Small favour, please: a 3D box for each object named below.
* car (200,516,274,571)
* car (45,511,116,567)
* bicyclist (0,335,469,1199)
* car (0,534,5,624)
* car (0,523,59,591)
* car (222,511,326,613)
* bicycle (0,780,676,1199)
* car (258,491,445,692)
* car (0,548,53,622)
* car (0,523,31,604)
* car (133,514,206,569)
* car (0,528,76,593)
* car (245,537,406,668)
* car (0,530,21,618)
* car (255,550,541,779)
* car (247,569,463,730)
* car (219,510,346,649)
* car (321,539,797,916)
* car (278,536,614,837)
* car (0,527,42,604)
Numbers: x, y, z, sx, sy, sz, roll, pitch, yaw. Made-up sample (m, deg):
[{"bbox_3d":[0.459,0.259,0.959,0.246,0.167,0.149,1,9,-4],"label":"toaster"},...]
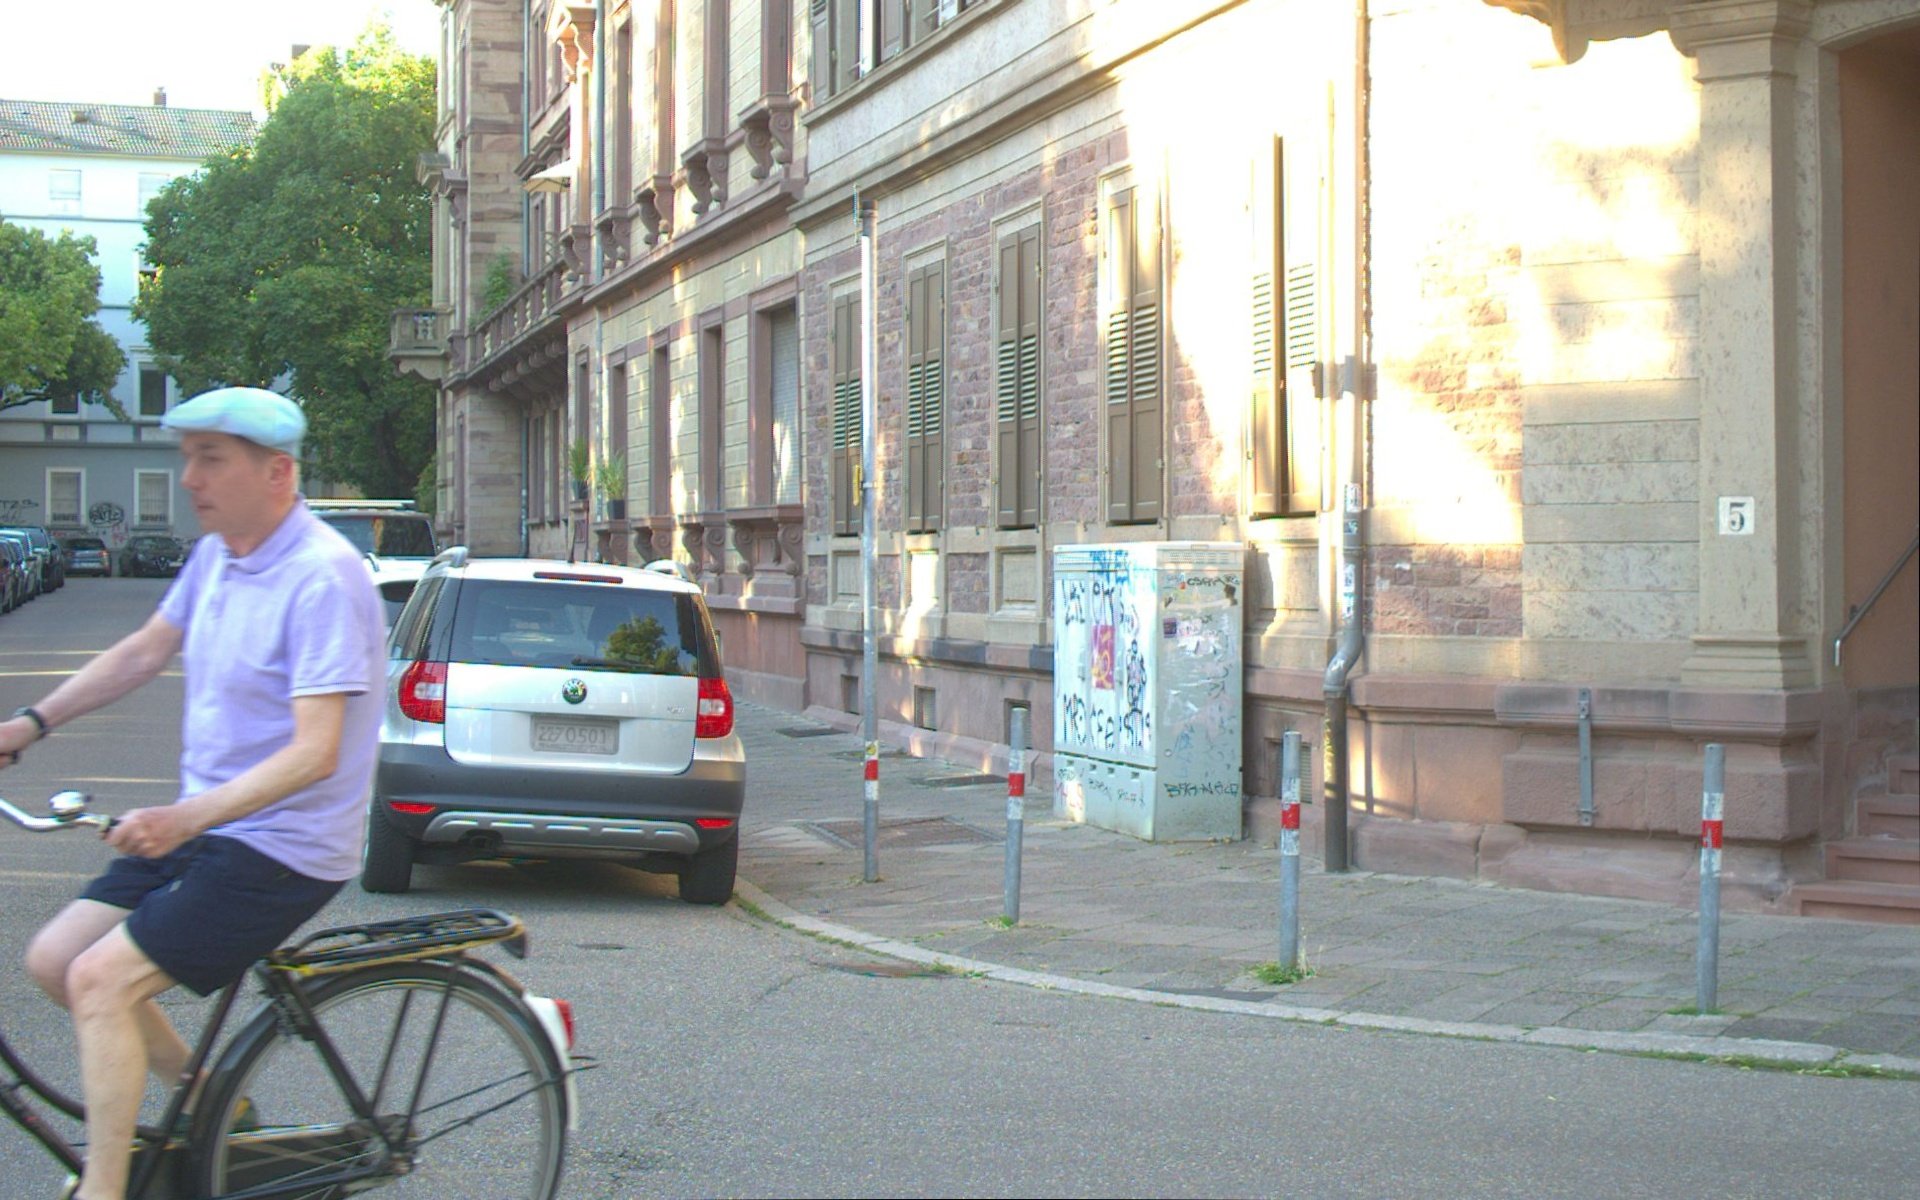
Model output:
[{"bbox_3d":[-24.357,-1.895,115.714,1.993,1.678,4.001,1,-1,-18],"label":"car"},{"bbox_3d":[-29.090,-2.010,113.668,1.993,1.678,4.001,1,-1,-18],"label":"car"},{"bbox_3d":[-1.380,0.367,5.912,0.871,1.583,0.701,0,1,-28],"label":"bicyclist"},{"bbox_3d":[-16.529,-0.370,55.534,1.825,1.495,3.932,3,0,-12],"label":"car"},{"bbox_3d":[-22.322,-1.039,81.078,1.825,1.495,3.932,3,0,-12],"label":"car"},{"bbox_3d":[-13.319,-0.743,66.584,1.797,1.832,3.956,3,0,-13],"label":"car"},{"bbox_3d":[-1.594,0.879,5.805,2.116,1.050,0.701,0,1,-28],"label":"bicycle"},{"bbox_3d":[-6.907,-0.118,38.756,1.797,2.065,3.956,3,0,-13],"label":"car"},{"bbox_3d":[-20.895,-0.369,75.139,1.825,1.495,3.932,3,0,-12],"label":"car"},{"bbox_3d":[-18.900,-0.754,65.894,1.825,1.495,3.932,3,0,-12],"label":"car"},{"bbox_3d":[-26.458,-1.944,114.934,1.993,1.678,4.001,1,-1,-18],"label":"car"},{"bbox_3d":[-23.212,-1.005,86.108,1.825,1.495,3.932,3,0,-12],"label":"car"},{"bbox_3d":[-8.147,-0.003,43.911,1.797,1.518,3.956,3,0,-13],"label":"car"},{"bbox_3d":[-17.549,-0.517,60.211,1.825,1.495,3.932,3,0,-12],"label":"car"},{"bbox_3d":[-4.550,0.459,27.402,1.797,1.608,3.956,3,0,-15],"label":"car"},{"bbox_3d":[-5.851,0.435,32.951,1.797,1.341,3.956,3,0,-13],"label":"car"},{"bbox_3d":[-10.901,-0.352,55.173,1.797,2.065,3.956,3,0,-13],"label":"car"},{"bbox_3d":[-2.211,0.580,17.881,1.915,1.651,4.188,3,0,-13],"label":"car"},{"bbox_3d":[-3.514,0.490,22.848,1.825,1.718,4.545,3,0,-12],"label":"car"},{"bbox_3d":[-19.825,-0.755,70.173,1.825,1.495,3.932,3,0,-12],"label":"car"}]
